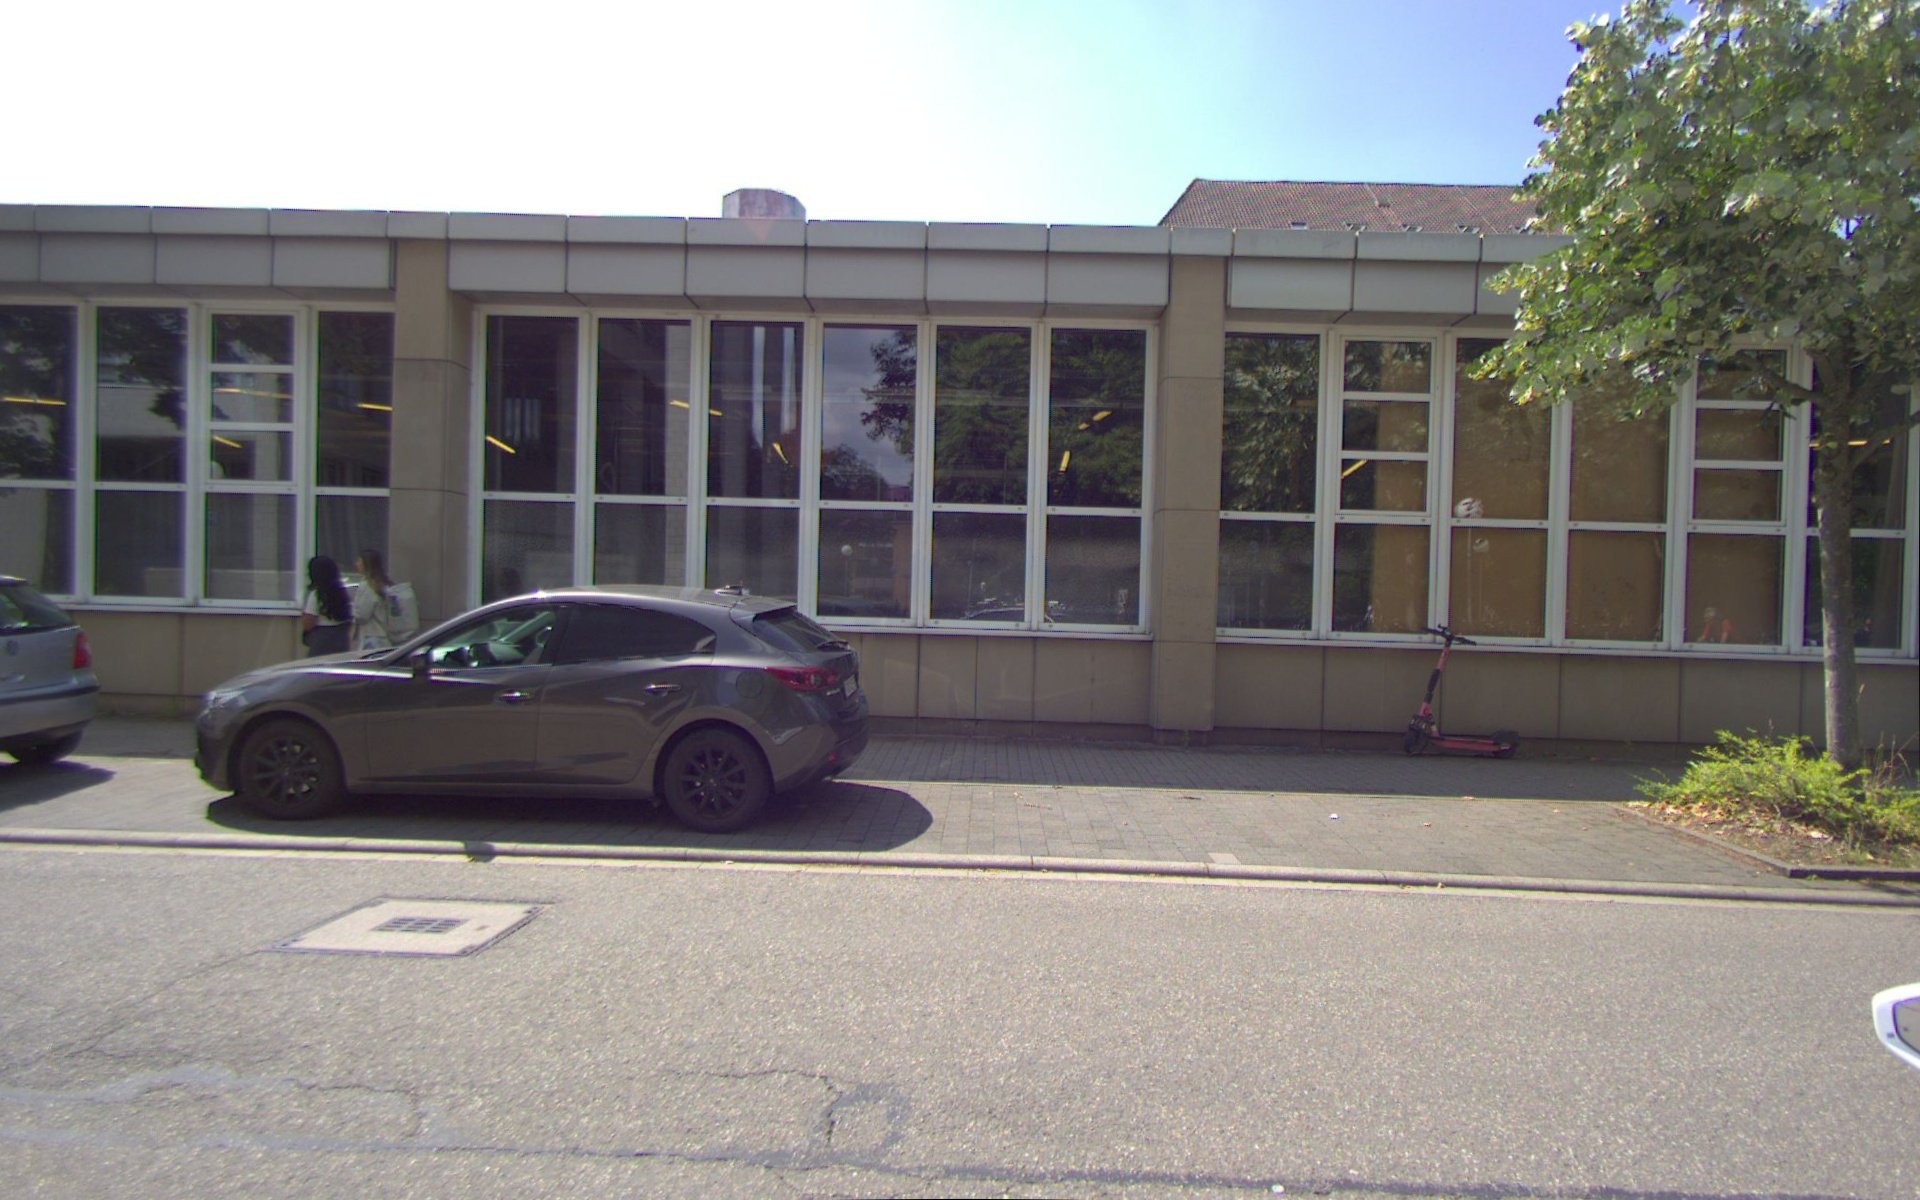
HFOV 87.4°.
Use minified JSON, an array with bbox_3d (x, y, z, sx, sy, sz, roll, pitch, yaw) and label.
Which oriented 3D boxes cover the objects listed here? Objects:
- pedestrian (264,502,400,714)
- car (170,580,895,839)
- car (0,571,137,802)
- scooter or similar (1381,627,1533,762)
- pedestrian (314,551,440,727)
[{"bbox_3d":[-5.418,0.074,8.707,0.783,1.751,0.600,2,0,-8],"label":"pedestrian"},{"bbox_3d":[-2.630,0.640,6.888,4.204,1.455,1.730,1,2,1],"label":"car"},{"bbox_3d":[-8.122,0.523,6.845,3.678,1.469,1.635,2,3,1],"label":"car"},{"bbox_3d":[4.736,0.891,9.613,1.221,1.224,0.384,1,2,0],"label":"scooter or similar"},{"bbox_3d":[-5.395,0.352,9.340,0.783,1.562,0.663,2,0,-8],"label":"pedestrian"}]
